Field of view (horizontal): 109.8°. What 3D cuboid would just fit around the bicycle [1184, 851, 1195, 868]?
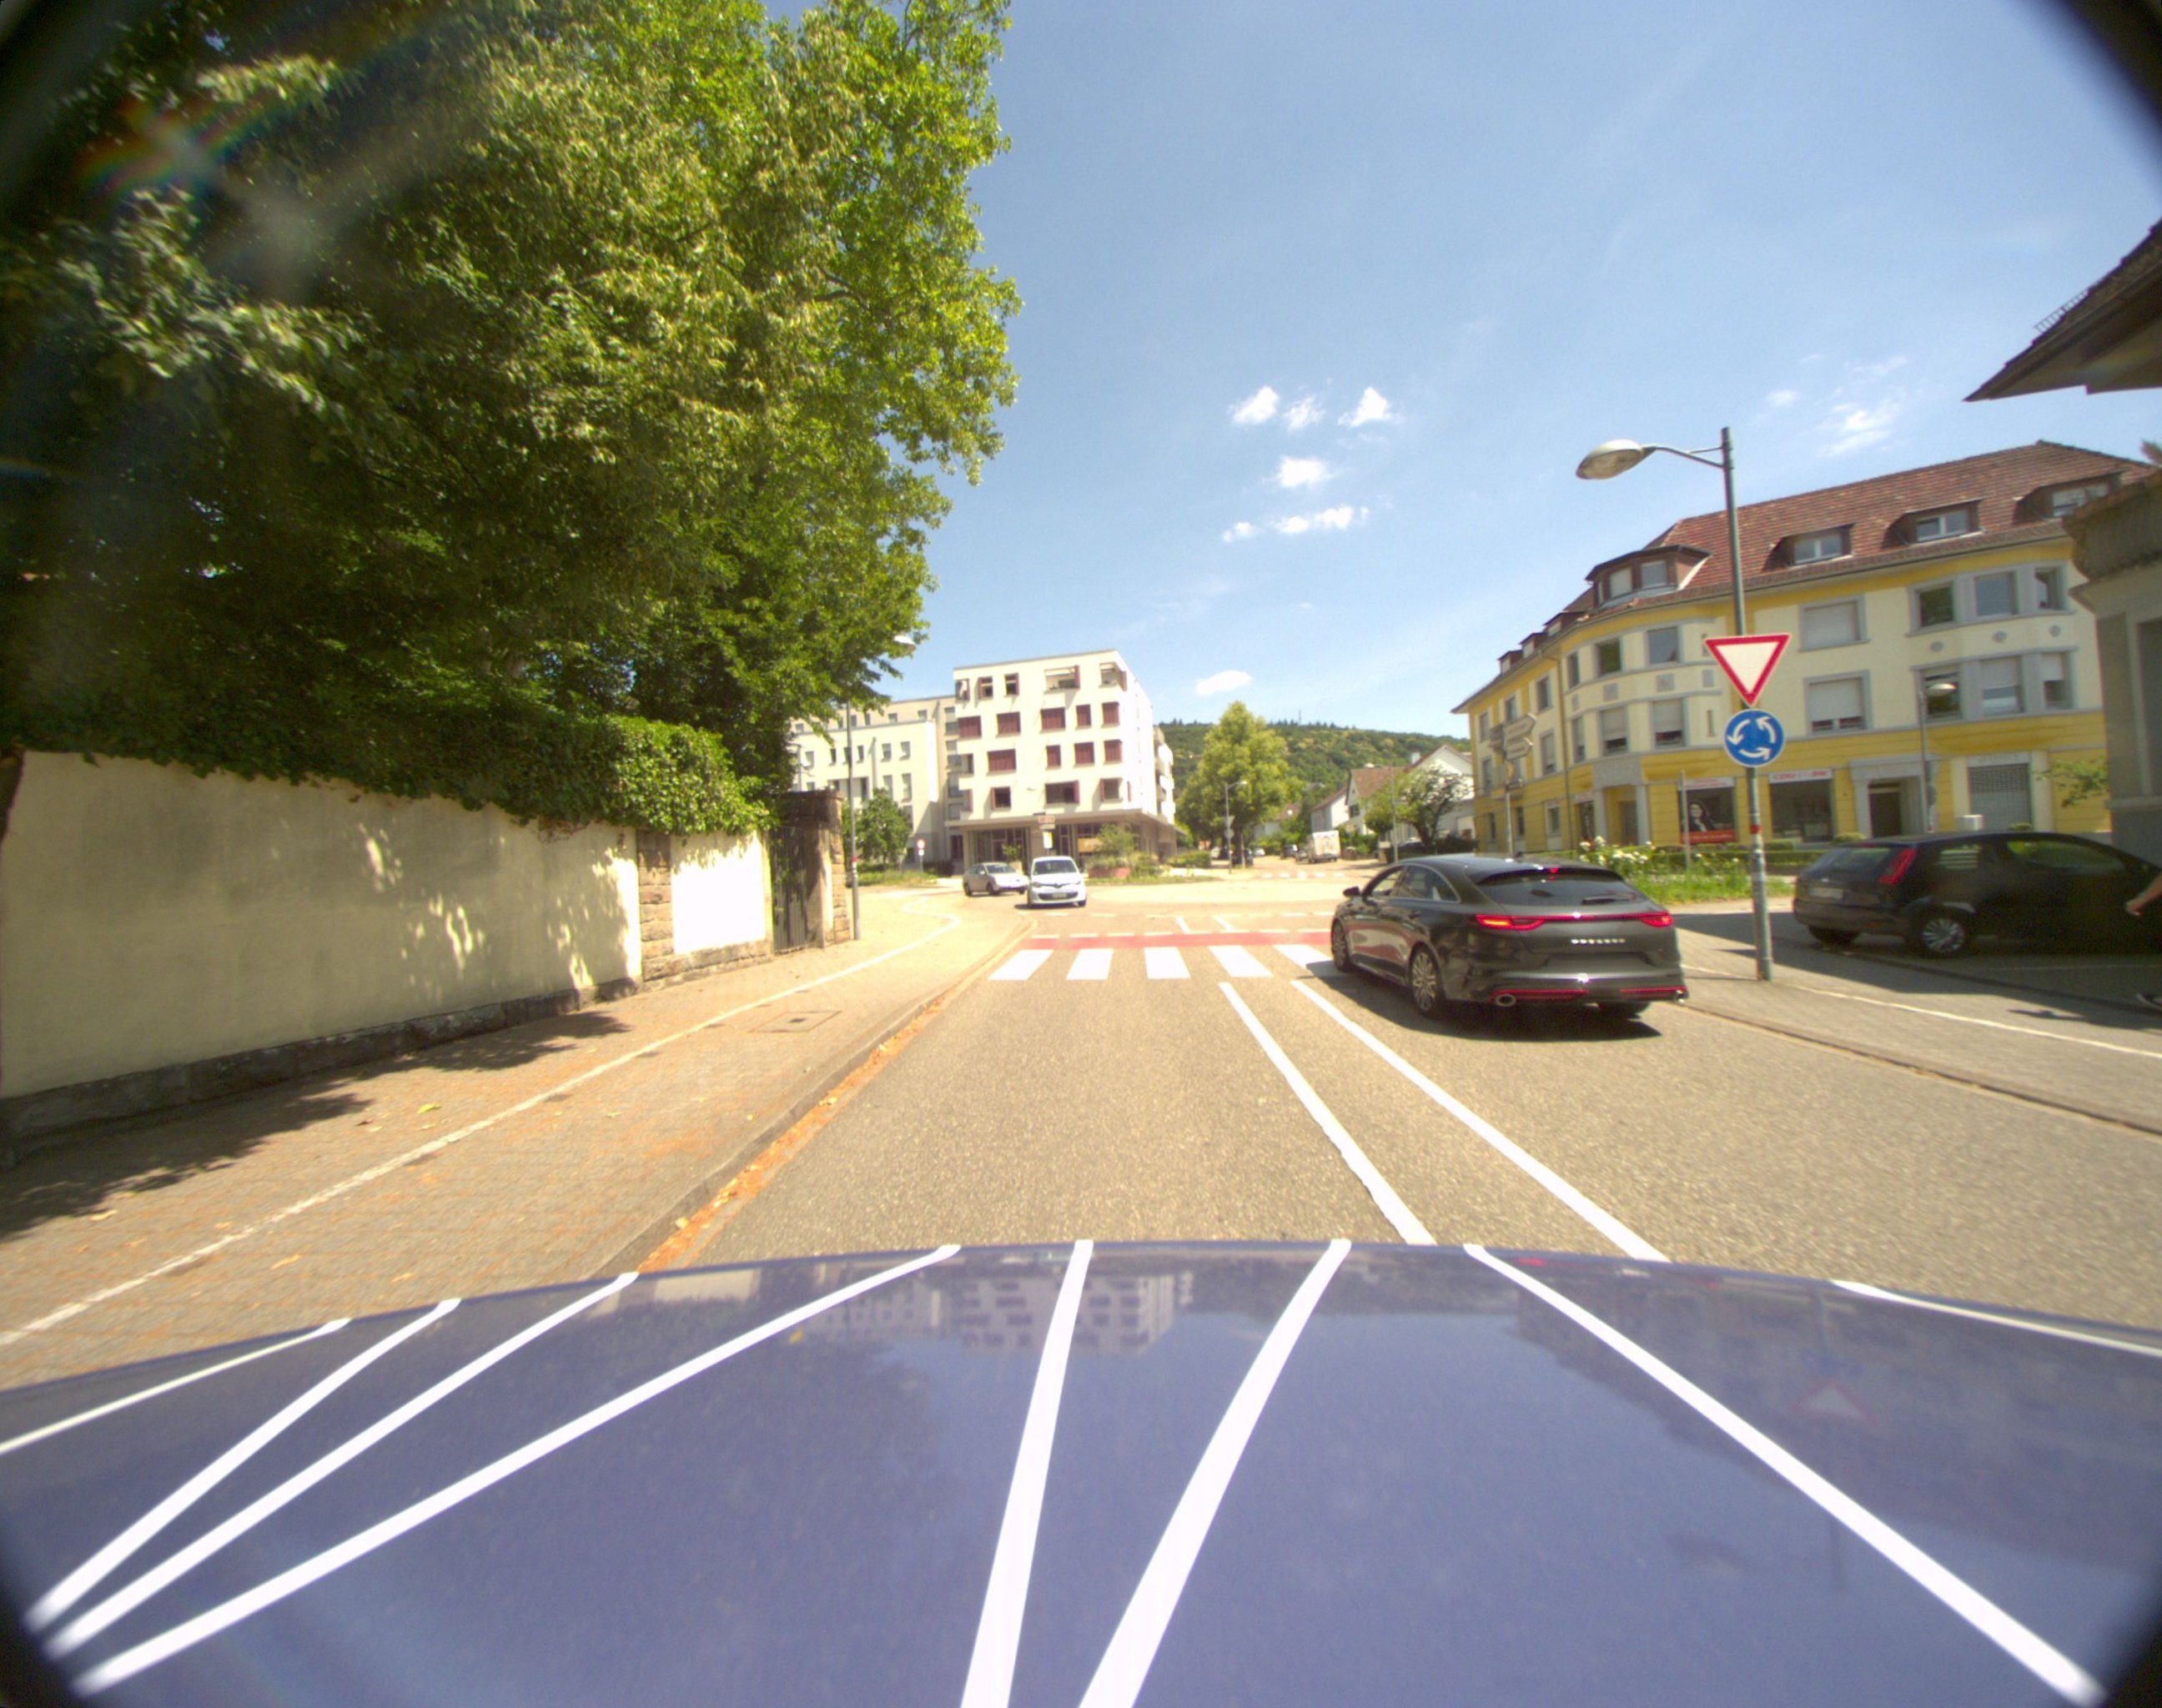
[{"bbox_3d":[8.960,0.427,62.687,0.569,1.370,1.750,-2,1,19],"label":"bicycle"}]

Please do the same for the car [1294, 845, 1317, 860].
[{"bbox_3d":[23.064,-0.173,78.178,1.754,1.496,3.995,-3,0,11],"label":"car"}]

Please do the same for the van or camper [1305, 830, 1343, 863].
[{"bbox_3d":[21.838,-0.696,68.482,2.271,2.623,5.889,-6,0,10],"label":"van or camper"}]

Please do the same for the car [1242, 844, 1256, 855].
[{"bbox_3d":[29.619,-0.837,134.090,1.997,1.657,4.001,-3,1,8],"label":"car"}]

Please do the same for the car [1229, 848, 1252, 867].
[{"bbox_3d":[13.716,0.254,65.506,1.754,1.496,3.995,-3,0,9],"label":"car"}]

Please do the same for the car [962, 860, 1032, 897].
[{"bbox_3d":[-3.784,1.057,33.600,1.610,1.443,3.991,-3,1,-28],"label":"car"}]

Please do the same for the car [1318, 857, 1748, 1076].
[{"bbox_3d":[3.851,0.809,7.530,1.773,1.418,4.393,-3,0,3],"label":"car"}]

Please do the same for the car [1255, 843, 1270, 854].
[{"bbox_3d":[29.287,-0.900,122.838,1.997,1.657,4.001,-3,1,8],"label":"car"}]

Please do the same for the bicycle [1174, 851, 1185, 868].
[{"bbox_3d":[8.153,0.436,62.911,0.569,1.370,1.750,-2,1,19],"label":"bicycle"}]

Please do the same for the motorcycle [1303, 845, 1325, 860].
[{"bbox_3d":[22.679,-0.152,74.007,2.237,1.312,0.738,-3,1,-33],"label":"motorcycle"}]

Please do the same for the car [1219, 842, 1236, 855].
[{"bbox_3d":[19.675,-0.755,102.350,1.997,1.657,4.001,-3,1,8],"label":"car"}]

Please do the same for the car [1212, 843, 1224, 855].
[{"bbox_3d":[21.778,-0.770,120.357,1.764,1.740,4.003,-3,1,11],"label":"car"}]

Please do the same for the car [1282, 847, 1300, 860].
[{"bbox_3d":[25.737,-0.097,93.018,1.754,1.496,3.995,-3,0,11],"label":"car"}]

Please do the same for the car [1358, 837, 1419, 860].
[{"bbox_3d":[23.750,-0.418,58.750,3.990,1.577,1.756,-3,0,-3],"label":"car"}]

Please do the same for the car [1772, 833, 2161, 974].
[{"bbox_3d":[11.207,0.557,9.246,3.787,1.452,1.725,-3,0,10],"label":"car"}]

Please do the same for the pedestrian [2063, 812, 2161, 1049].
[{"bbox_3d":[8.350,0.548,5.556,0.873,1.732,1.113,-3,1,6],"label":"pedestrian"}]

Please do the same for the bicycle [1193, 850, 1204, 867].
[{"bbox_3d":[9.662,0.377,62.444,0.569,1.370,1.750,-2,1,19],"label":"bicycle"}]

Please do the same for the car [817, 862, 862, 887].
[{"bbox_3d":[-15.944,1.354,50.116,2.781,1.521,1.573,-2,1,41],"label":"car"}]

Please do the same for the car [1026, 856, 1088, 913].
[{"bbox_3d":[-0.835,0.878,23.925,1.660,1.516,4.159,-2,1,-6],"label":"car"}]
